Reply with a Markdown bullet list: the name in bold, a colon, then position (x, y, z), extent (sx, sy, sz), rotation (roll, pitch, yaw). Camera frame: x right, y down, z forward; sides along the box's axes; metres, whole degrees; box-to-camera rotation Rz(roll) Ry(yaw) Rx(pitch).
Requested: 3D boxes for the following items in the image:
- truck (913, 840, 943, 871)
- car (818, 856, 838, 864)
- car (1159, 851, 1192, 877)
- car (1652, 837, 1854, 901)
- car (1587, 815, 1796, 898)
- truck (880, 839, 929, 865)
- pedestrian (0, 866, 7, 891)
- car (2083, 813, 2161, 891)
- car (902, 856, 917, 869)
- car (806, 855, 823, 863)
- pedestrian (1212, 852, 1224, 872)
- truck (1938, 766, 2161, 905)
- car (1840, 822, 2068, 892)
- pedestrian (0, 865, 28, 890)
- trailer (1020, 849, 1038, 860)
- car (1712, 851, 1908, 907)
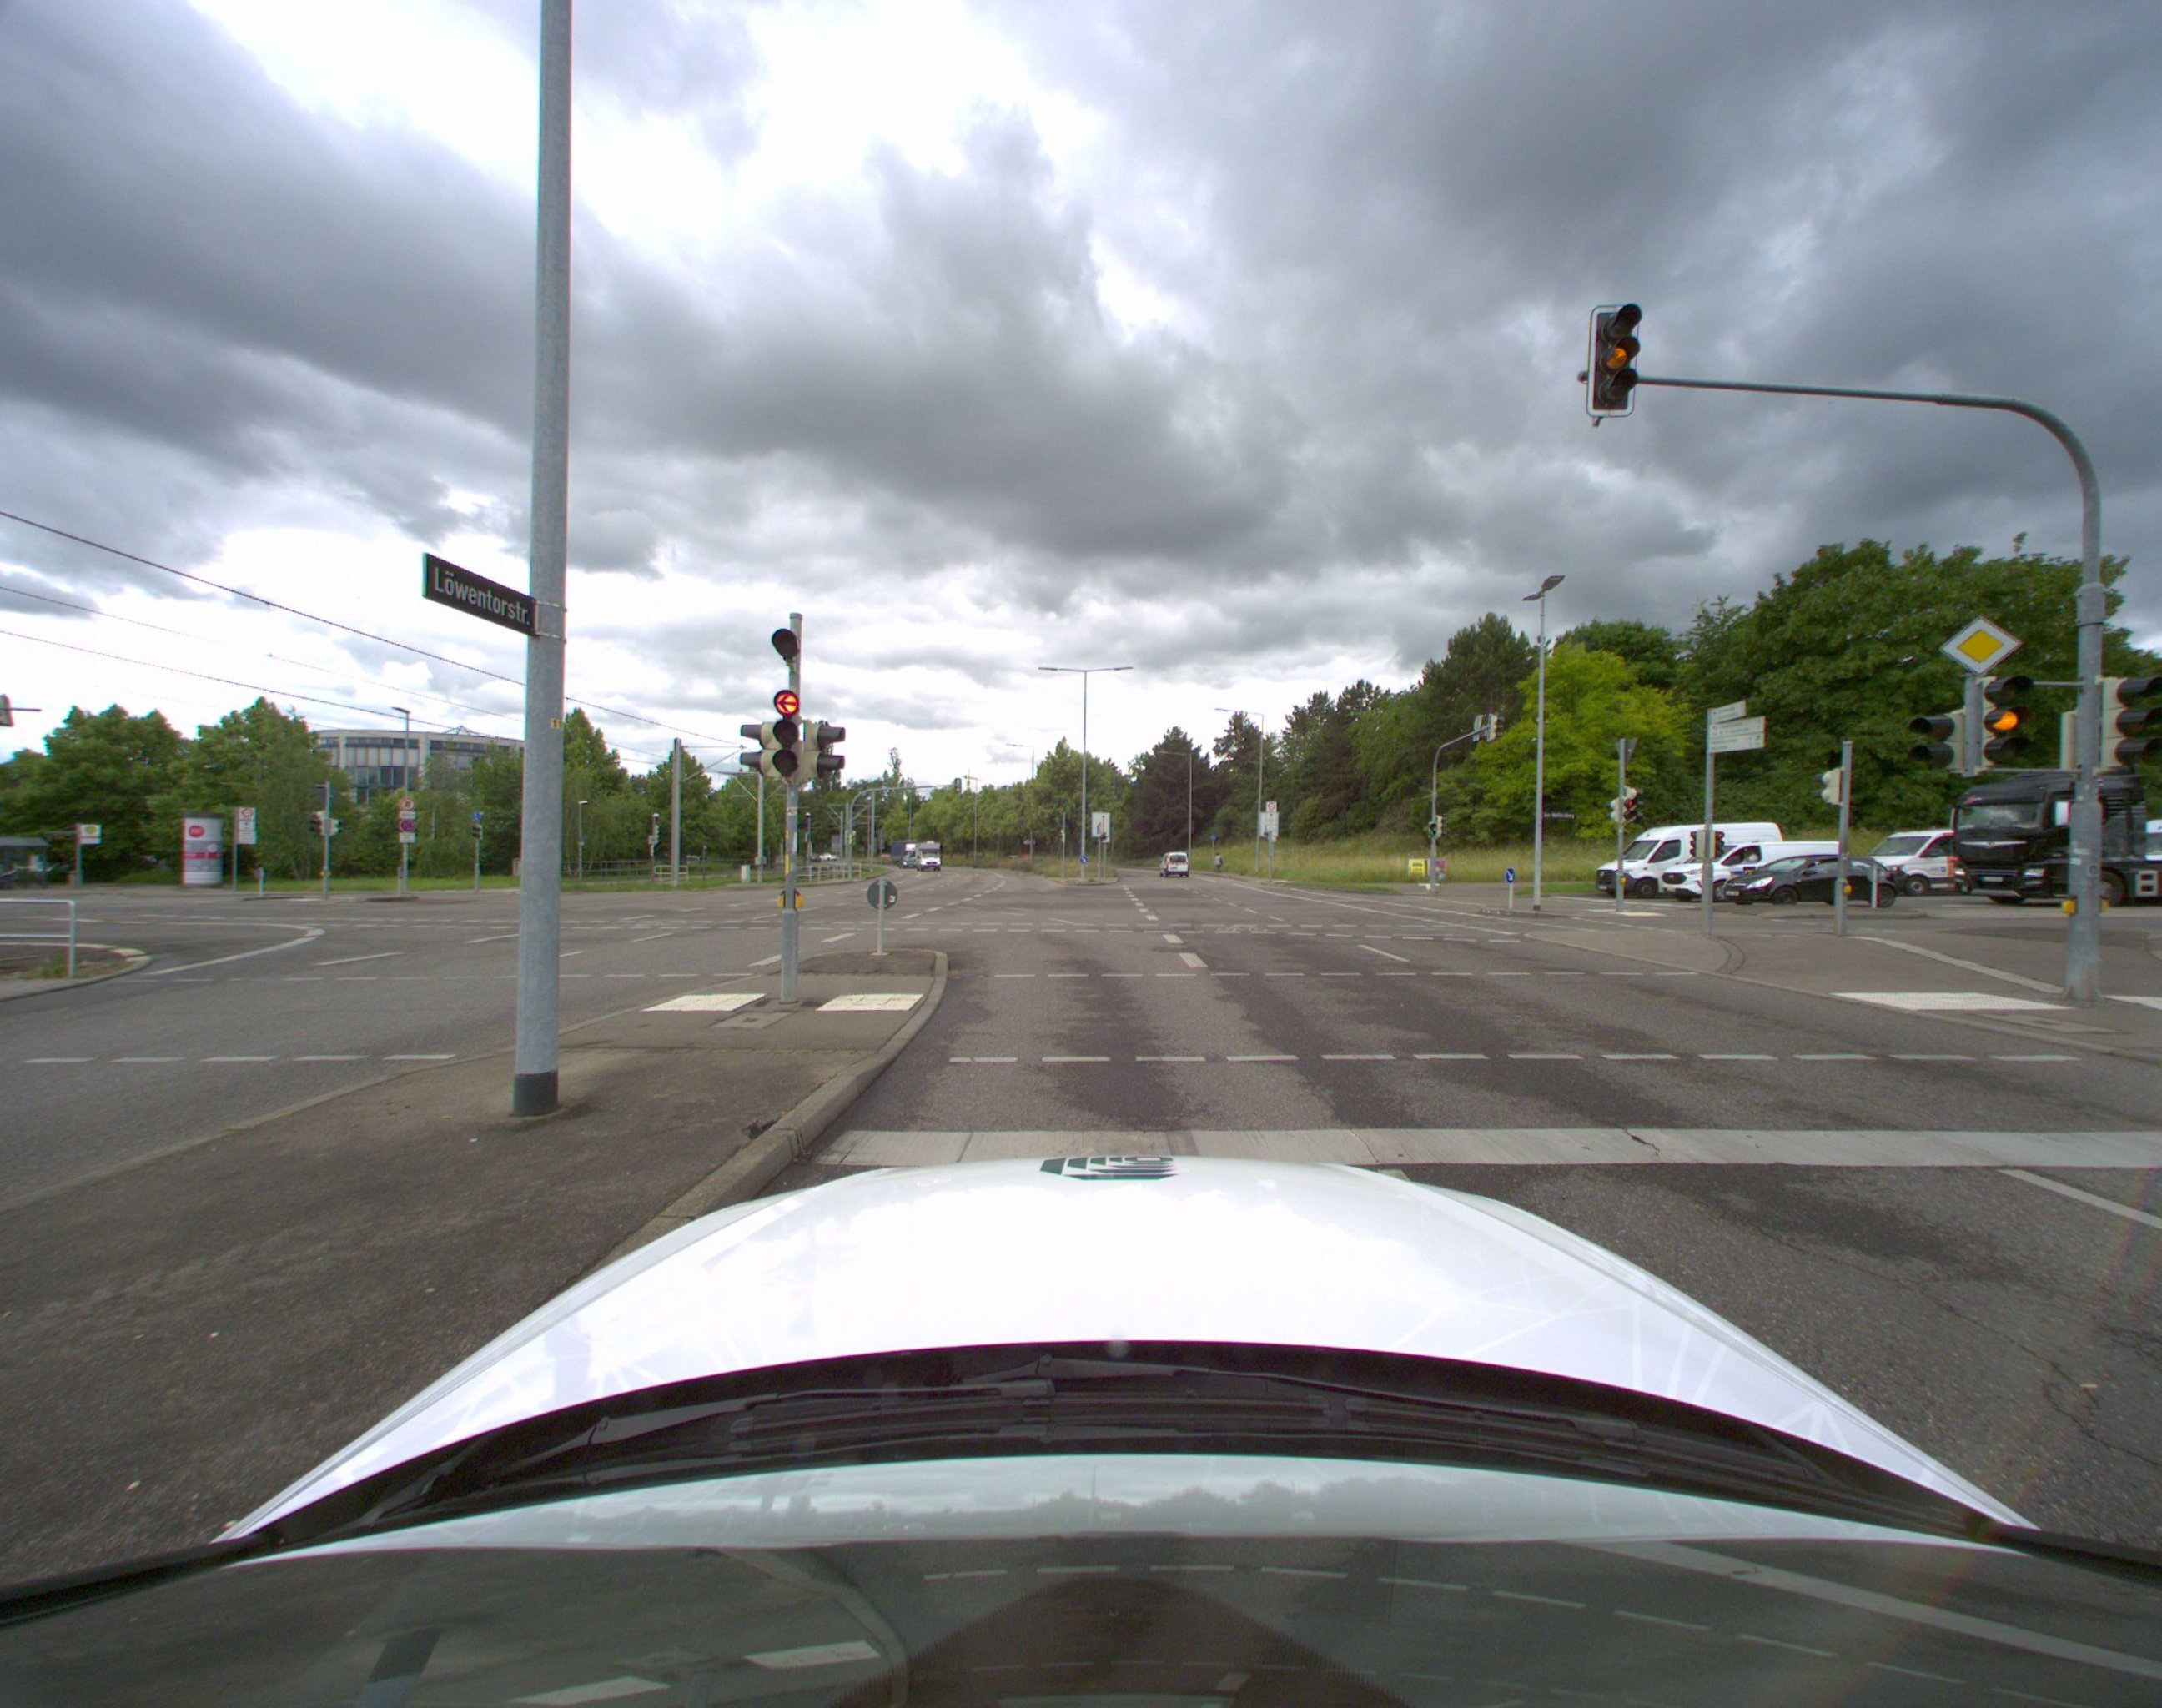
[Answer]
- **truck**: position (-15.890, 0.163, 84.404), extent (2.123, 3.135, 5.859), rotation (0, -1, -21)
- **car**: position (-52.423, 1.199, 168.552), extent (3.973, 1.546, 1.795), rotation (0, 0, 33)
- **car**: position (6.985, 0.758, 60.723), extent (1.987, 1.802, 4.840), rotation (-1, -1, 2)
- **car**: position (21.593, 0.458, 26.337), extent (4.836, 1.896, 2.034), rotation (-1, 0, 1)
- **car**: position (21.899, 0.096, 29.417), extent (5.870, 2.781, 2.136), rotation (-1, 0, 2)
- **truck**: position (-26.788, -0.242, 123.217), extent (3.070, 3.760, 12.682), rotation (0, -1, -32)
- **pedestrian**: position (-57.687, 1.292, 43.182), extent (0.774, 1.303, 0.666), rotation (0, 0, 15)
- **car**: position (39.725, -0.127, 28.496), extent (6.473, 2.609, 2.197), rotation (-1, 0, 2)
- **car**: position (-21.808, 1.058, 103.292), extent (1.783, 1.446, 4.508), rotation (-2, 2, -13)
- **car**: position (-51.307, 0.915, 156.486), extent (1.794, 1.446, 4.478), rotation (-3, 2, -36)
- **pedestrian**: position (10.963, 0.640, 65.164), extent (0.811, 1.627, 0.791), rotation (0, 0, 1)
- **truck**: position (27.936, -0.514, 22.277), extent (6.027, 3.538, 2.729), rotation (-1, 0, 2)
- **car**: position (30.684, 0.111, 28.771), extent (5.677, 2.289, 2.136), rotation (-1, 0, 2)
- **pedestrian**: position (-56.379, 1.254, 43.007), extent (0.774, 1.304, 0.666), rotation (0, 0, 15)
- **trailer**: position (-7.678, 0.065, 119.927), extent (1.772, 1.616, 3.020), rotation (-1, 0, -23)
- **car**: position (20.281, 0.670, 22.780), extent (3.905, 1.436, 1.732), rotation (-1, 0, 1)
